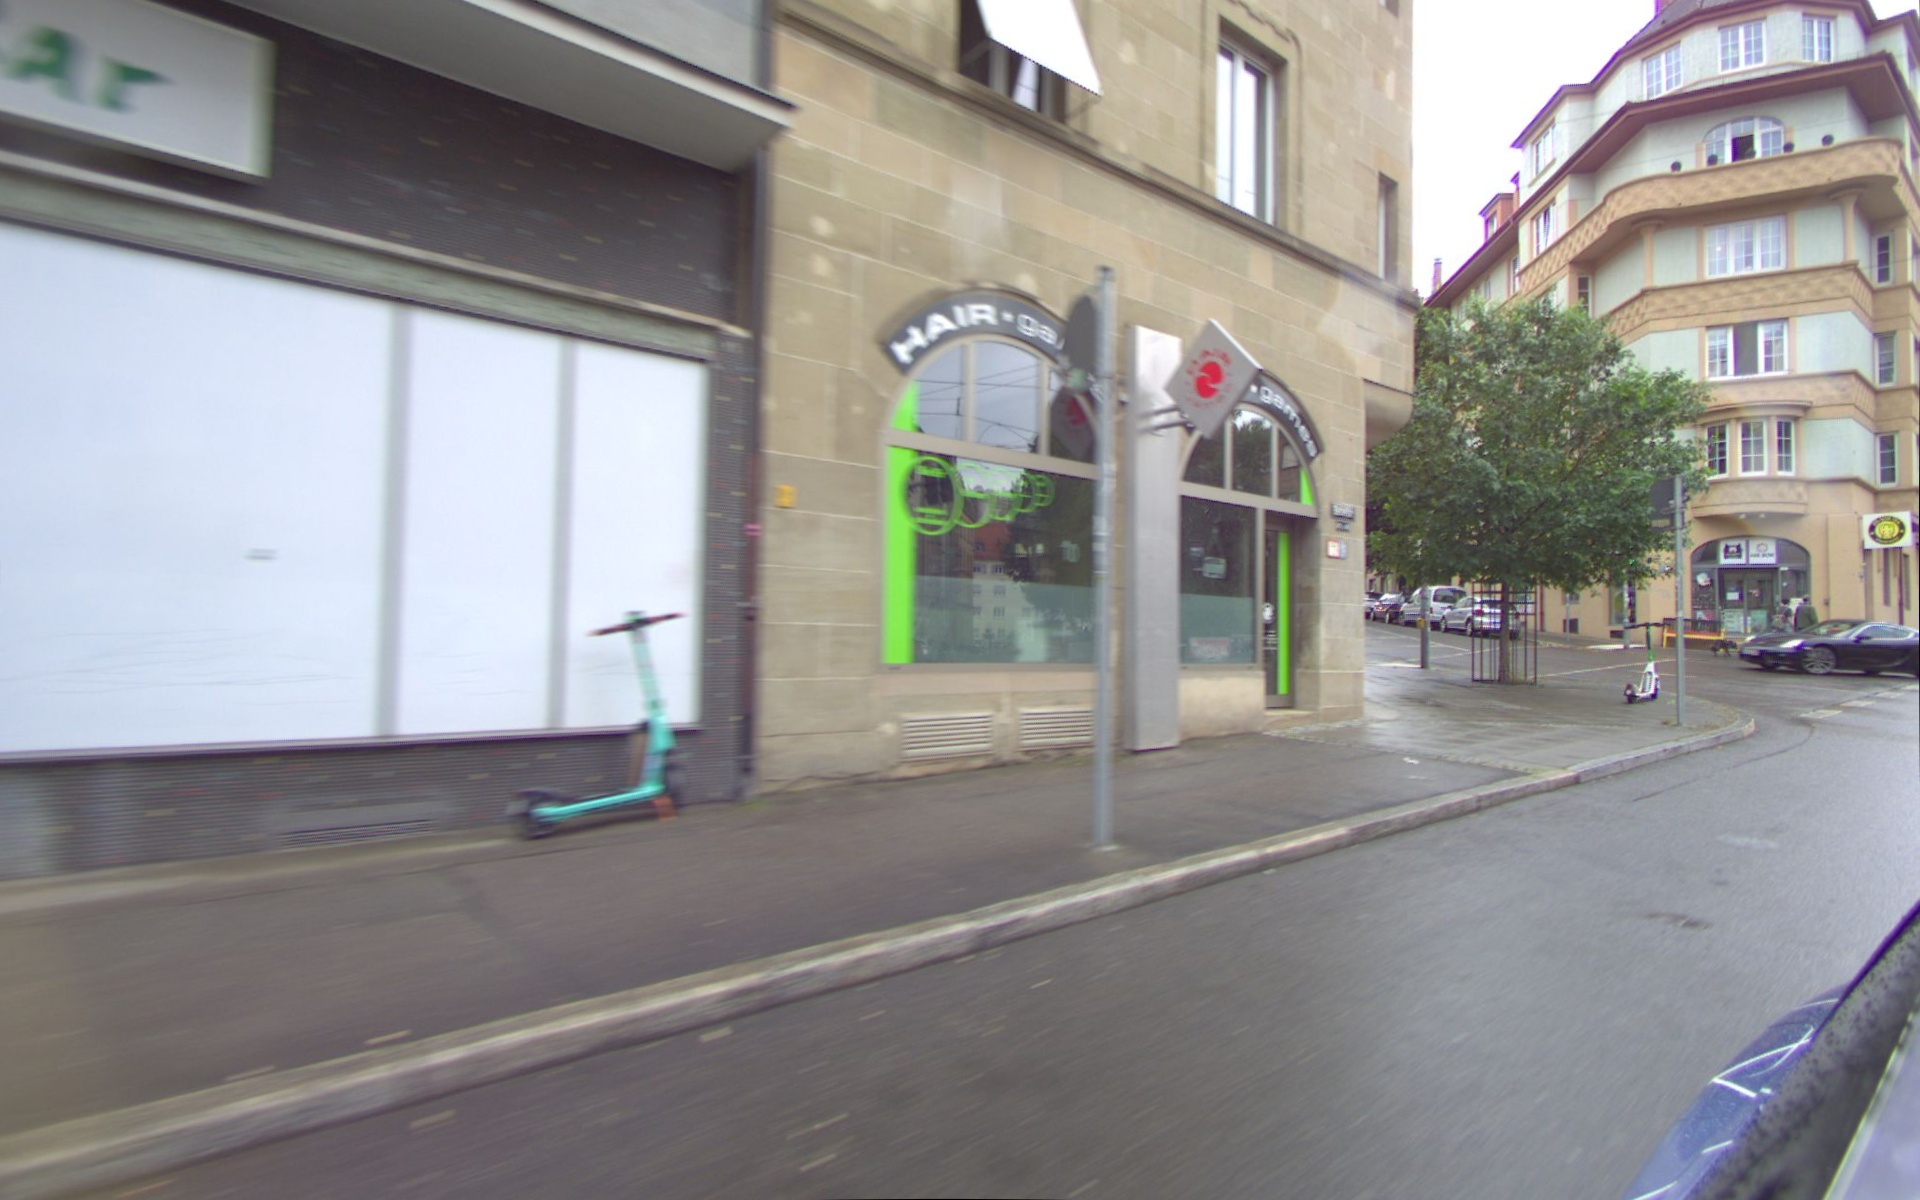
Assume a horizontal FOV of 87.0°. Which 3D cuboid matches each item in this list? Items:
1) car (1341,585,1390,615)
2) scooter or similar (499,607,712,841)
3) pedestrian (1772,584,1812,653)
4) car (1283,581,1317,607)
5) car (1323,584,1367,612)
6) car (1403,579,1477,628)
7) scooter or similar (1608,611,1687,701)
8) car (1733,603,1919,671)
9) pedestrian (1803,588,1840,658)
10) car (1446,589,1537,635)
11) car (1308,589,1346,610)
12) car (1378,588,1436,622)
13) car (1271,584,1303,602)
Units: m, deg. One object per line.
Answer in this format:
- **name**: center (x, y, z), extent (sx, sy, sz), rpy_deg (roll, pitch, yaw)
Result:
- **car**: center (20.669, -0.027, 51.633), extent (1.422, 1.443, 3.293), rpy_deg (-2, 0, 6)
- **scooter or similar**: center (-2.031, 0.662, 5.863), extent (1.087, 1.232, 0.396), rpy_deg (1, -1, -41)
- **pedestrian**: center (22.516, 0.488, 27.397), extent (0.886, 1.811, 0.683), rpy_deg (1, 1, -42)
- **car**: center (22.382, -0.416, 66.695), extent (1.422, 1.594, 3.279), rpy_deg (-2, 0, 6)
- **car**: center (21.281, -0.142, 56.001), extent (1.422, 1.443, 3.293), rpy_deg (-2, 0, 6)
- **car**: center (19.564, 0.136, 41.369), extent (1.577, 1.867, 3.549), rpy_deg (-2, 0, 6)
- **scooter or similar**: center (10.041, 0.786, 14.763), extent (1.526, 1.225, 0.638), rpy_deg (1, 0, -43)
- **car**: center (20.838, 0.873, 23.559), extent (4.124, 1.303, 1.703), rpy_deg (4, 1, 7)
- **pedestrian**: center (22.768, 0.592, 26.743), extent (0.875, 1.811, 0.594), rpy_deg (1, 1, -42)
- **car**: center (19.072, 0.392, 36.491), extent (1.662, 1.478, 3.529), rpy_deg (3, 1, 6)
- **car**: center (22.209, -0.041, 61.283), extent (1.422, 1.139, 3.072), rpy_deg (3, 1, 6)
- **car**: center (20.014, 0.184, 45.459), extent (1.422, 1.443, 3.293), rpy_deg (1, 1, 6)
- **car**: center (22.927, -0.502, 71.026), extent (1.422, 1.187, 3.279), rpy_deg (-2, 0, 6)
